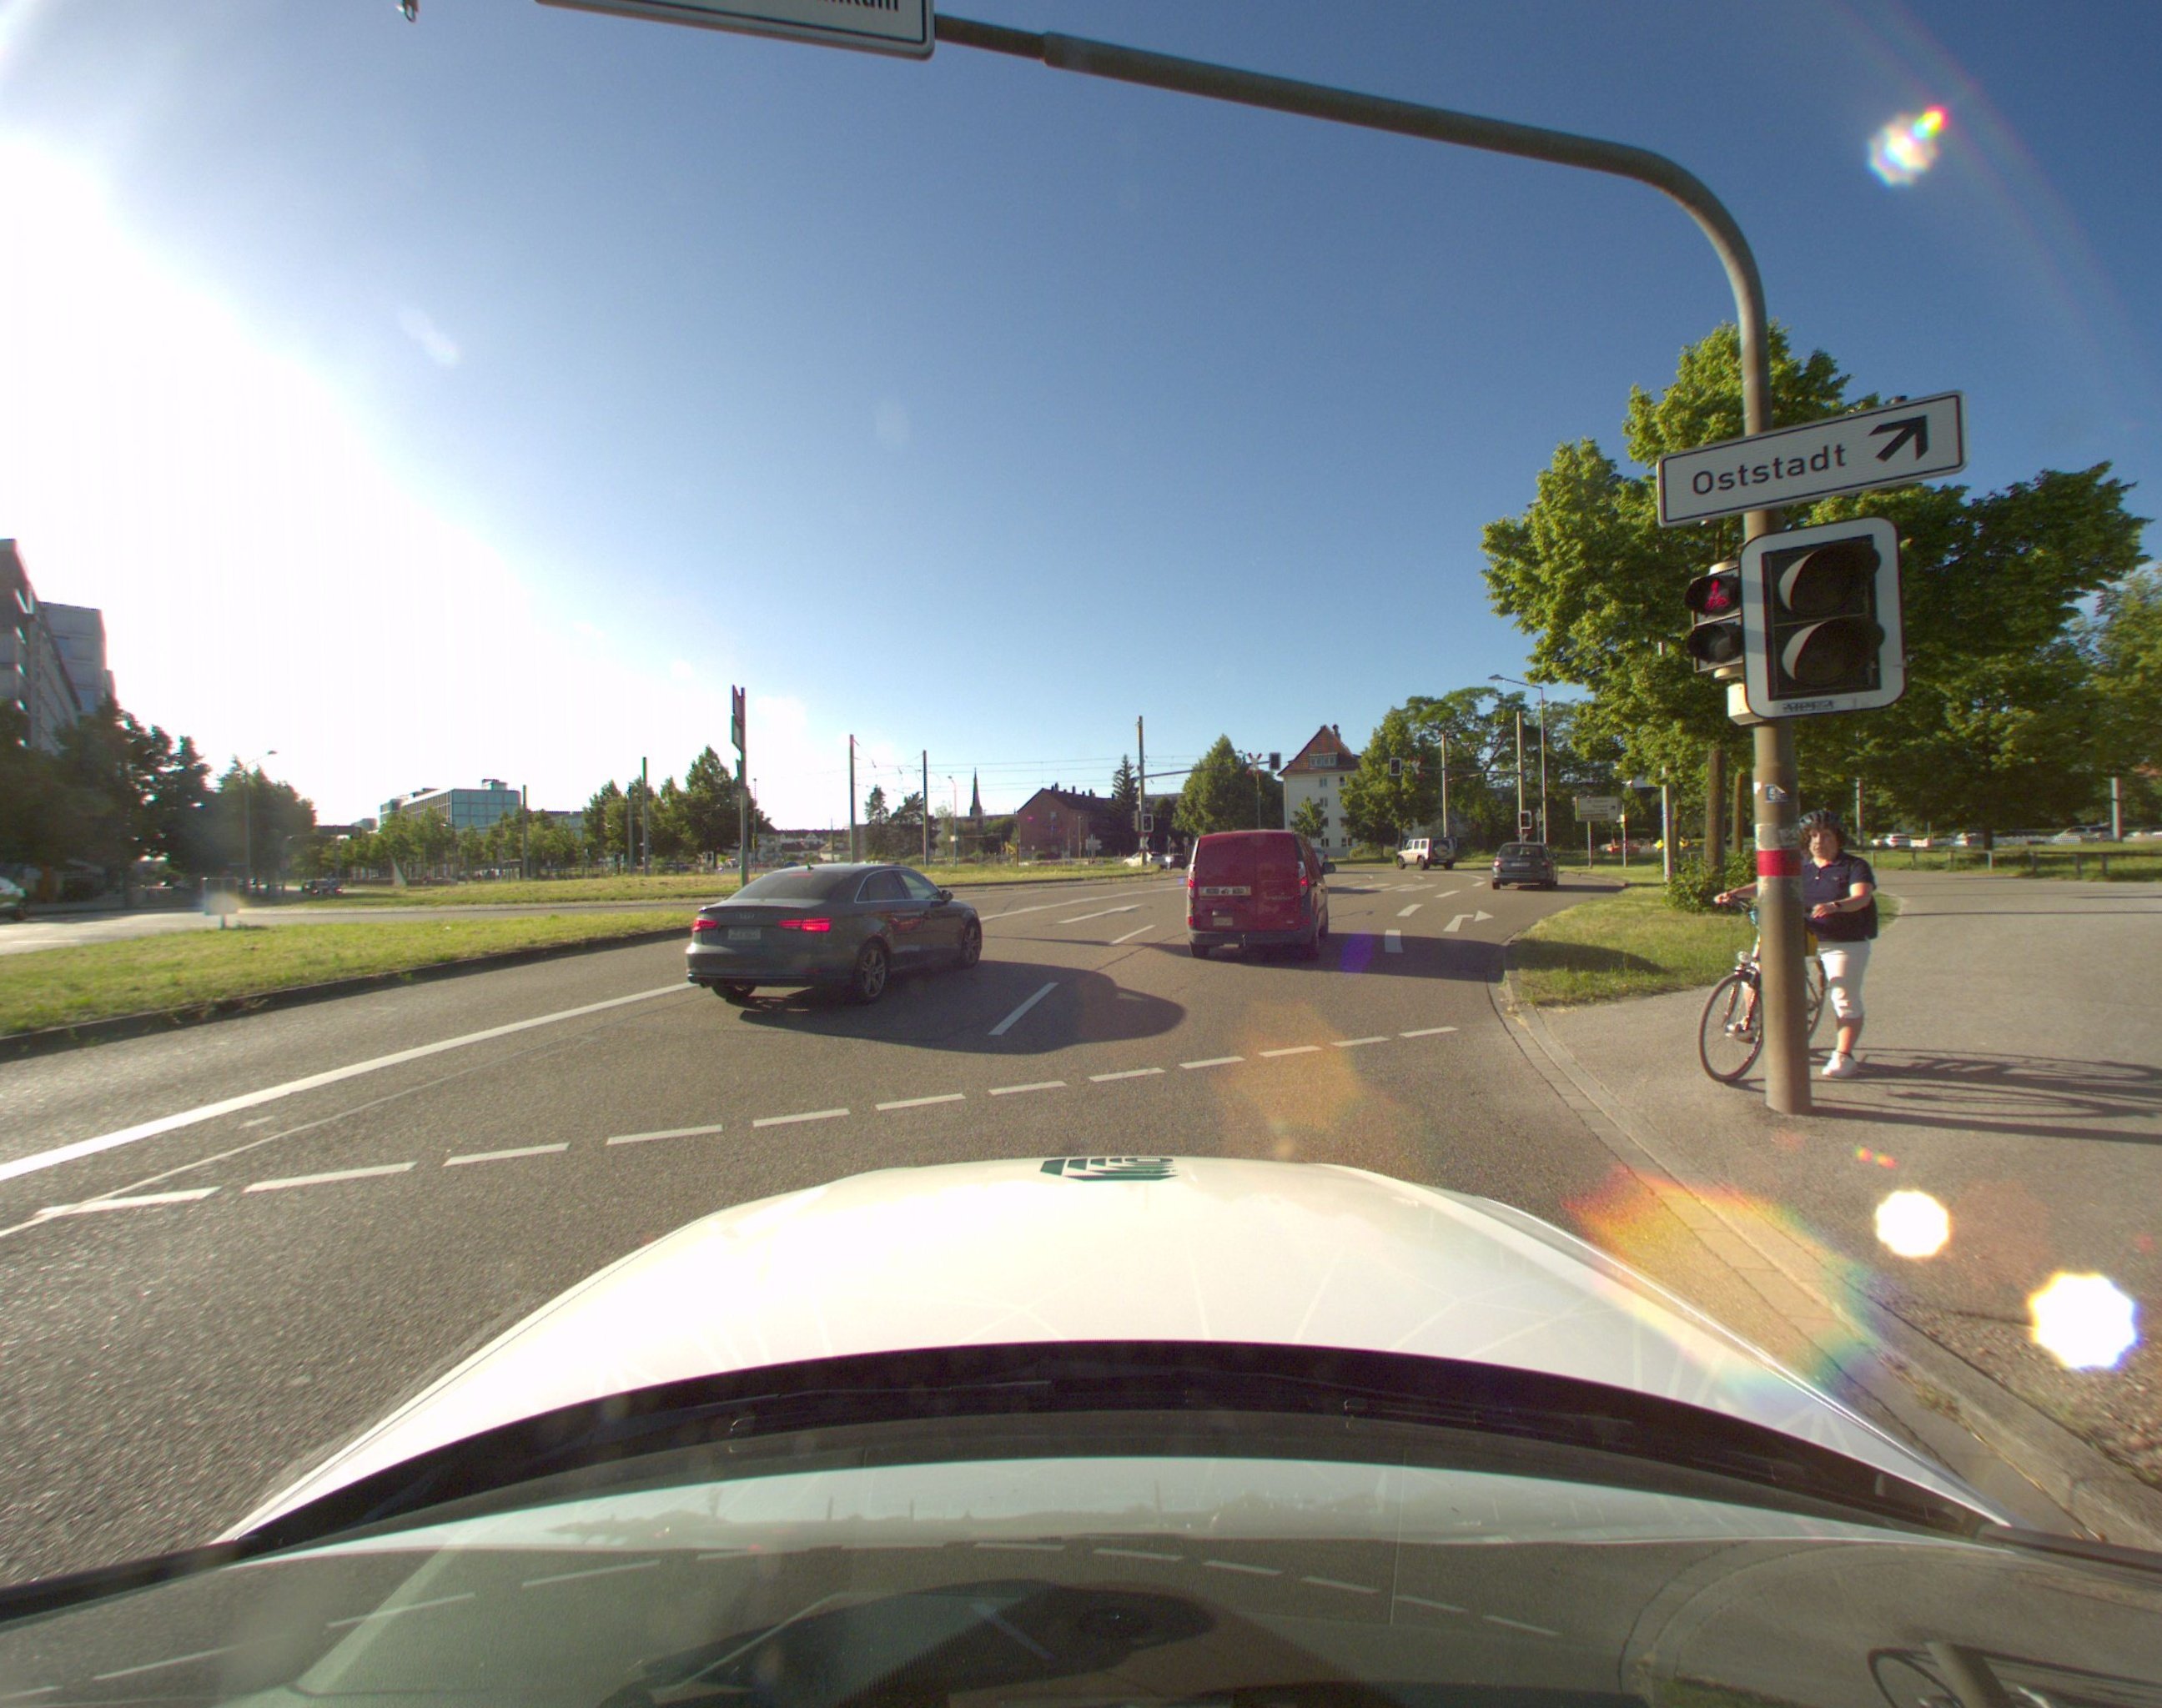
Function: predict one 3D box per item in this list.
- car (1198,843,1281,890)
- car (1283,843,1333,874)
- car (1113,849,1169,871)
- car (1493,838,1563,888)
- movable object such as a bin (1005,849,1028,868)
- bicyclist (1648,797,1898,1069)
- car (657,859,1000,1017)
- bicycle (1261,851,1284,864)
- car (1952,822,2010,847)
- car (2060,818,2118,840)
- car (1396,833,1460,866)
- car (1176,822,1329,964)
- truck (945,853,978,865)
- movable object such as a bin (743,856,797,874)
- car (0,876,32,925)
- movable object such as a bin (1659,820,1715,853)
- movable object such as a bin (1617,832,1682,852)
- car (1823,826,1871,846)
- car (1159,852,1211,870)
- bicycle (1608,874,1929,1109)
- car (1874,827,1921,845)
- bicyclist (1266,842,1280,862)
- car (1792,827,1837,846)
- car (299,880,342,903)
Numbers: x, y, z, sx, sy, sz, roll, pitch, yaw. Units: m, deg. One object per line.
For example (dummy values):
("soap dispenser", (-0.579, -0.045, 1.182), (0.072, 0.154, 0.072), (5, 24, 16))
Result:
("car", (5.459, 0.399, 27.650), (1.786, 1.461, 3.832), (0, 0, 27))
("car", (12.326, 0.193, 44.555), (1.983, 1.575, 4.417), (-2, 0, 7))
("car", (4.801, 0.483, 65.701), (2.011, 1.639, 4.355), (-2, 1, -42))
("car", (14.073, 0.248, 25.550), (1.697, 1.436, 4.178), (-2, 0, 31))
("movable object such as a bin", (-9.842, 0.711, 123.352), (2.429, 2.773, 3.969), (1, -1, -23))
("bicyclist", (4.521, 0.446, 5.342), (1.091, 1.562, 0.868), (-2, -1, -30))
("car", (-2.566, 0.774, 9.551), (1.747, 1.380, 4.376), (-1, 0, 15))
("bicycle", (18.624, 0.353, 79.101), (0.821, 1.266, 2.186), (1, -2, -34))
("car", (83.242, -1.795, 75.366), (1.976, 2.100, 4.020), (-1, -1, 21))
("car", (90.350, -2.224, 73.069), (1.673, 1.779, 3.869), (-1, -1, 25))
("car", (20.973, -0.233, 49.424), (1.989, 1.897, 4.755), (-1, -1, 2))
("car", (2.761, 0.470, 12.432), (1.788, 1.813, 3.828), (0, 1, 19))
("truck", (-20.602, 0.889, 139.858), (6.355, 2.014, 2.184), (-1, -2, 44))
("movable object such as a bin", (-53.101, 1.827, 139.224), (2.906, 2.782, 7.980), (-1, 0, 44))
("car", (-36.416, 1.555, 26.542), (2.021, 1.541, 4.272), (-2, 0, -43))
("movable object such as a bin", (54.689, -1.531, 73.598), (1.981, 2.789, 5.062), (0, -1, 11))
("movable object such as a bin", (57.973, -1.174, 83.192), (4.970, 1.948, 2.248), (0, -1, 13))
("car", (74.049, -1.732, 78.796), (1.976, 1.769, 4.020), (-1, -1, 21))
("car", (9.199, 0.640, 72.464), (2.011, 1.539, 4.355), (-2, 1, -42))
("bicycle", (4.554, 0.776, 5.354), (2.223, 1.155, 0.868), (-3, -1, -30))
("car", (77.892, -1.729, 77.758), (1.811, 1.556, 3.827), (-1, -1, 23))
("bicyclist", (18.658, -0.176, 79.046), (0.815, 1.852, 1.015), (1, -2, -33))
("car", (72.364, -1.675, 80.370), (1.976, 1.723, 4.020), (-1, -1, 21))
("car", (-65.865, 3.194, 70.541), (4.951, 1.785, 2.477), (-1, 0, 44))
